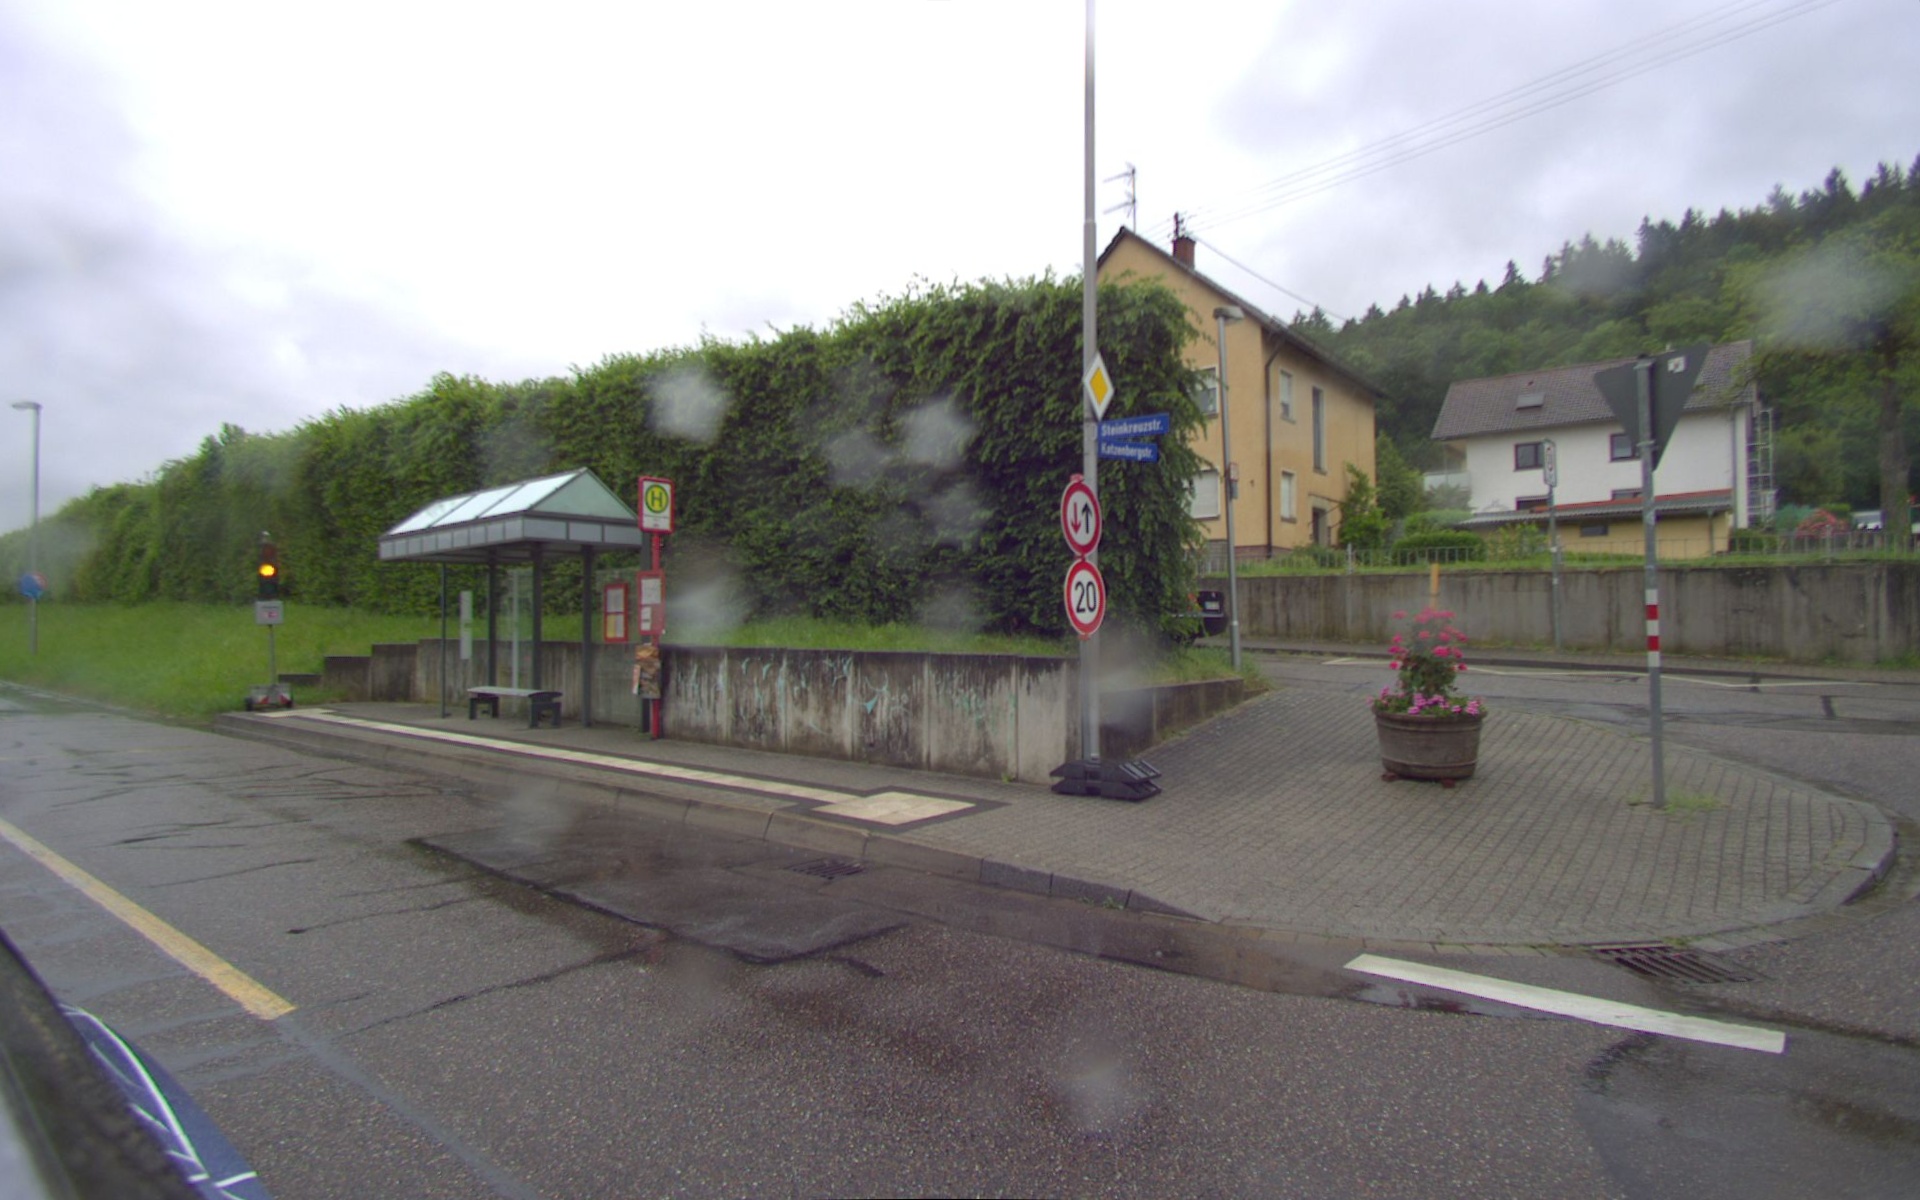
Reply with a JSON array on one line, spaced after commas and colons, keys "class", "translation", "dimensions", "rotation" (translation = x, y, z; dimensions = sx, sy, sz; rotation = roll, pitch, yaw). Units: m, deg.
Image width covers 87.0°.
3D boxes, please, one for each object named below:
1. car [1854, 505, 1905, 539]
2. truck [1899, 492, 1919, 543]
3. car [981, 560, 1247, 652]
[{"class": "car", "translation": [58.622, -4.937, 64.583], "dimensions": [1.912, 2.028, 3.953], "rotation": [-1, 2, 35]}, {"class": "truck", "translation": [44.174, -3.724, 45.577], "dimensions": [2.298, 2.142, 6.002], "rotation": [-1, 1, 39]}, {"class": "car", "translation": [2.558, 0.037, 17.355], "dimensions": [4.218, 1.399, 1.727], "rotation": [2, 1, 39]}]
